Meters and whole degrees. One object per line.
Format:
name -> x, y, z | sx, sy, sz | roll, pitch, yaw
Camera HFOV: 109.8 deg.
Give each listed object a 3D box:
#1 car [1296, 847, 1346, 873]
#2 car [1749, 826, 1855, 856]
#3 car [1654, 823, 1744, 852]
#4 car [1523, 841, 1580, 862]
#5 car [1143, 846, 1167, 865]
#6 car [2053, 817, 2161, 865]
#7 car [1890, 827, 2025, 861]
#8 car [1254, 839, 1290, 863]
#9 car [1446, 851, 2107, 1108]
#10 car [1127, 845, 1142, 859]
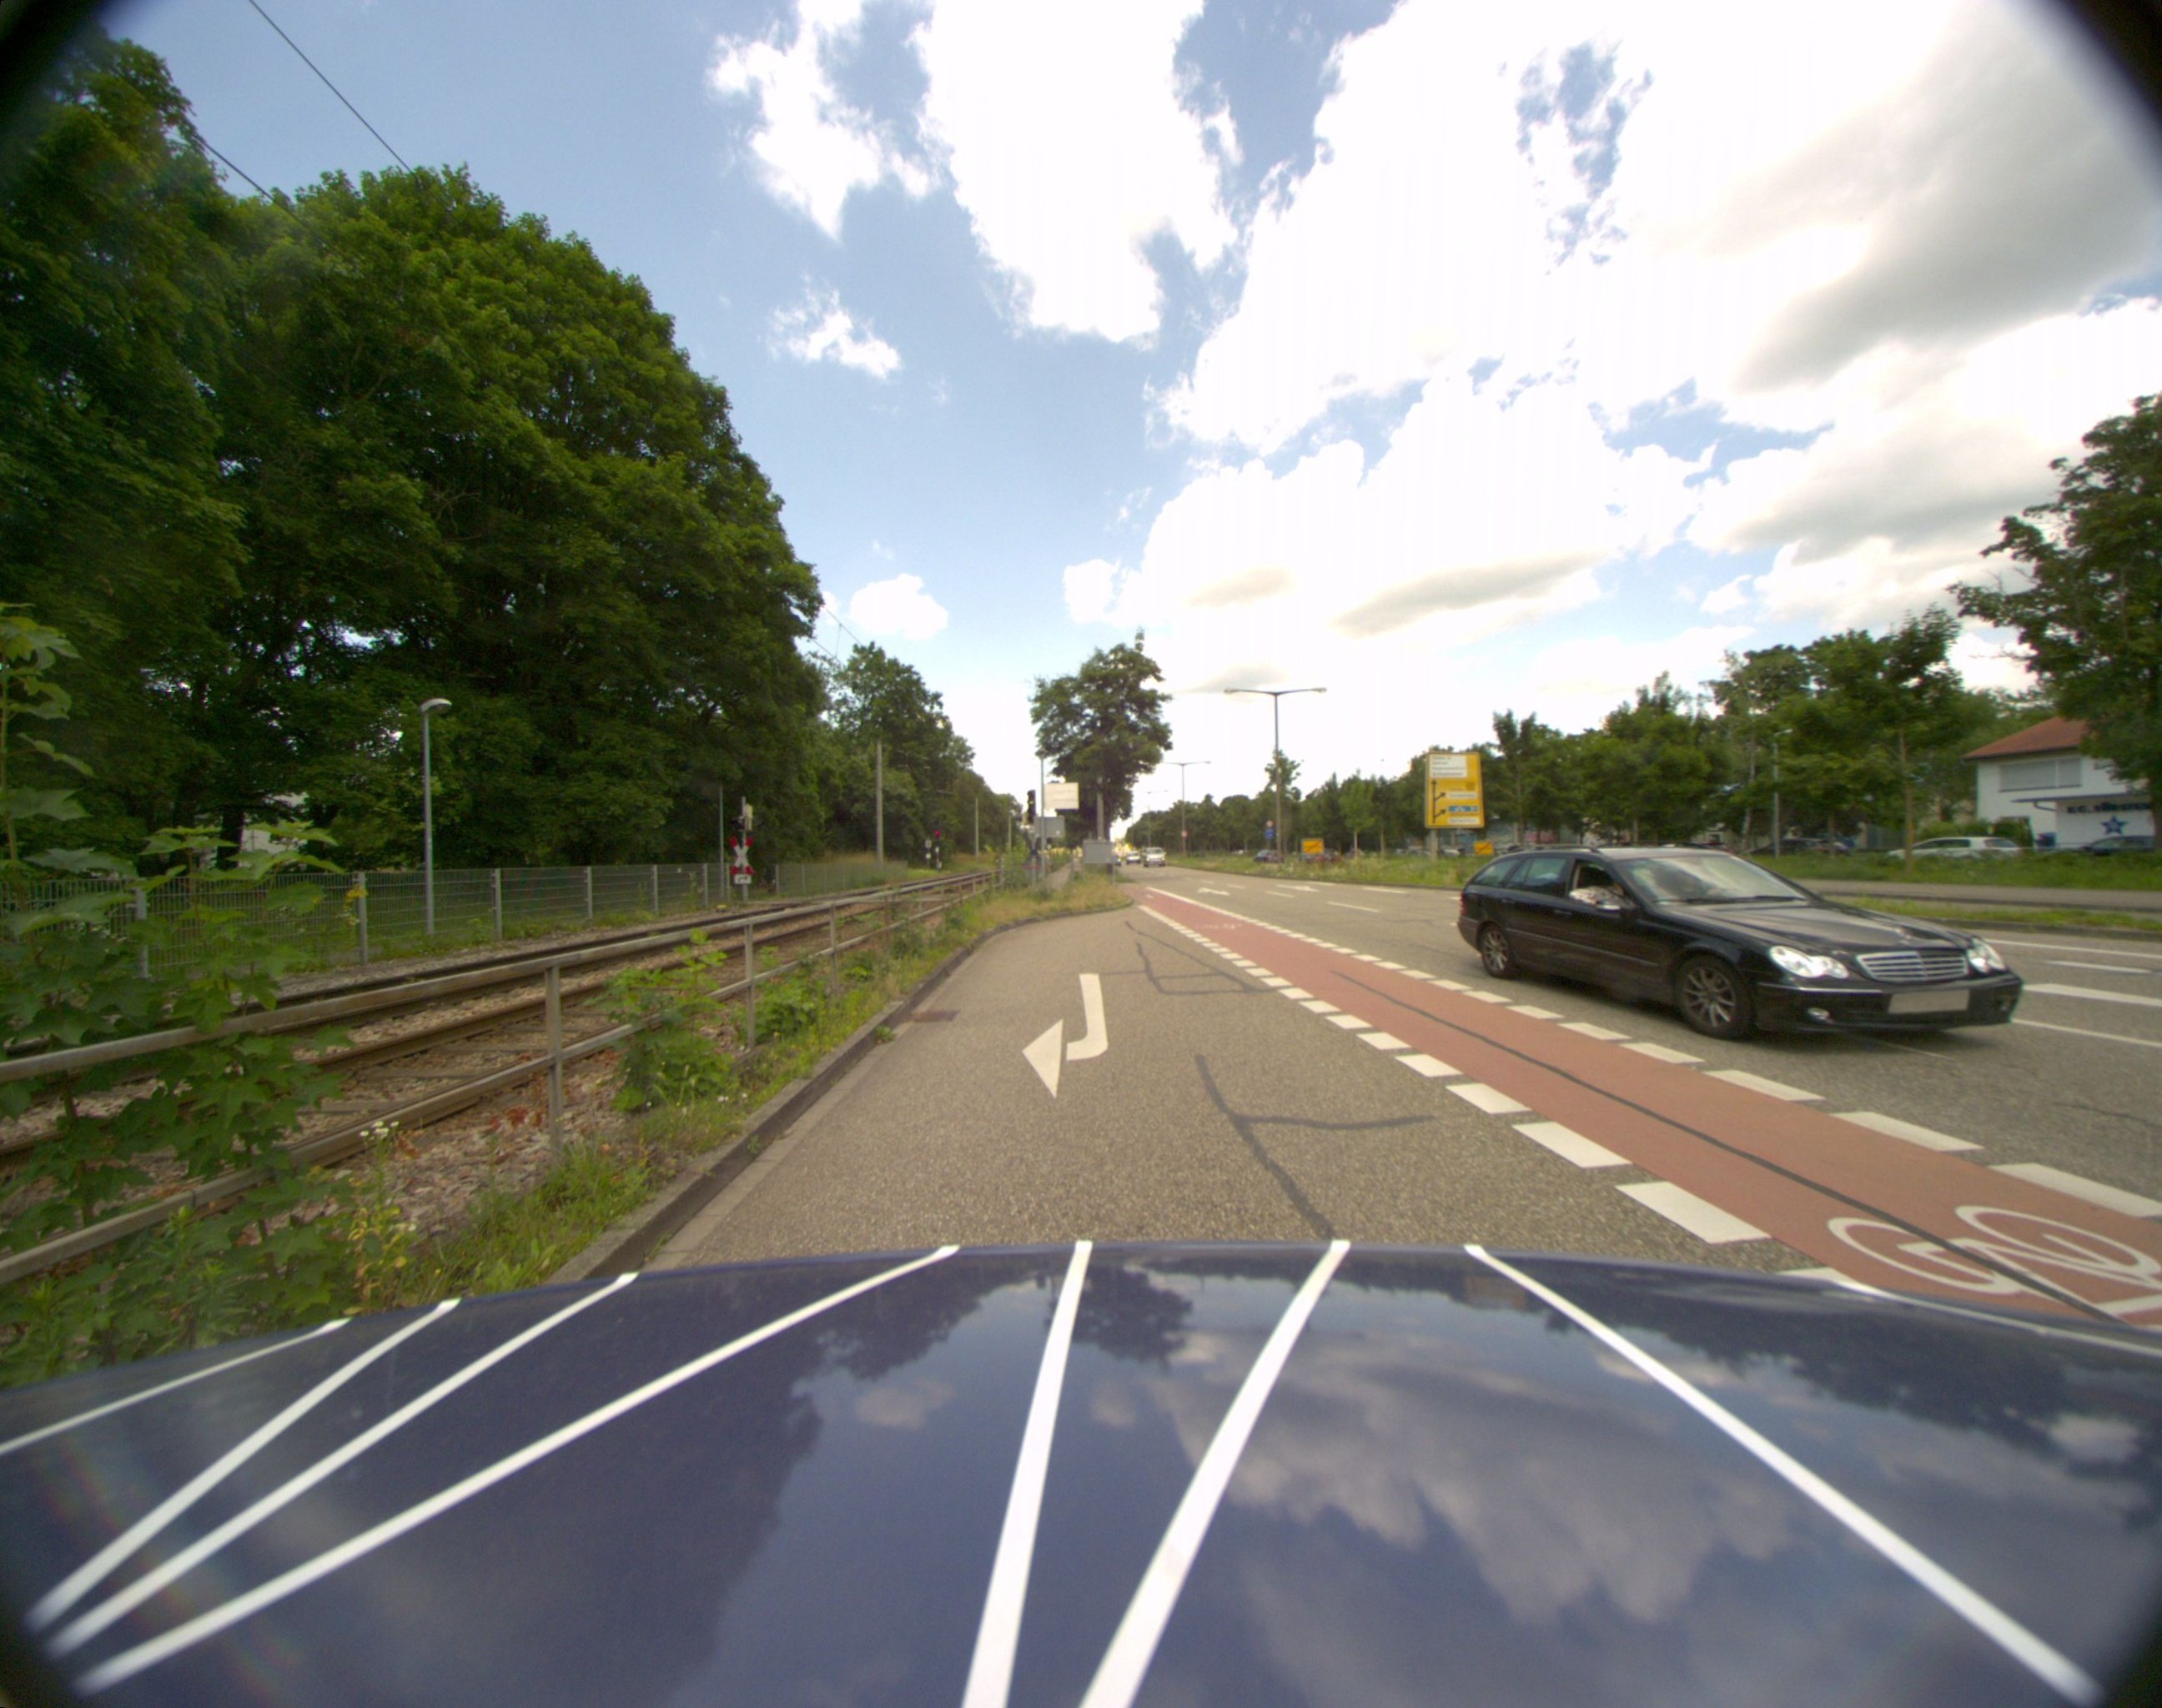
car -> 14.313, 0.324, 45.501 | 1.686, 1.437, 3.692 | -1, 0, -2
car -> 36.152, -0.619, 38.245 | 1.729, 1.403, 3.866 | -1, 0, 1
car -> 36.174, -0.950, 44.613 | 1.998, 1.578, 4.023 | -1, 0, 1
car -> 36.939, -0.189, 59.728 | 1.998, 1.578, 4.023 | -1, 0, 1
car -> 7.595, 0.104, 78.080 | 1.818, 1.907, 5.231 | -1, 1, -2
car -> 36.508, -0.444, 25.842 | 1.762, 1.578, 4.023 | -1, 0, 1
car -> 36.246, -0.409, 31.546 | 1.625, 1.324, 3.476 | -1, 0, 1
car -> 16.554, -0.267, 66.140 | 1.999, 2.002, 3.999 | -1, 0, -2
car -> 5.331, 0.754, 6.848 | 1.760, 1.457, 4.431 | -2, 1, -3
car -> 7.265, -0.274, 102.996 | 1.747, 1.775, 4.156 | -2, 1, 2
